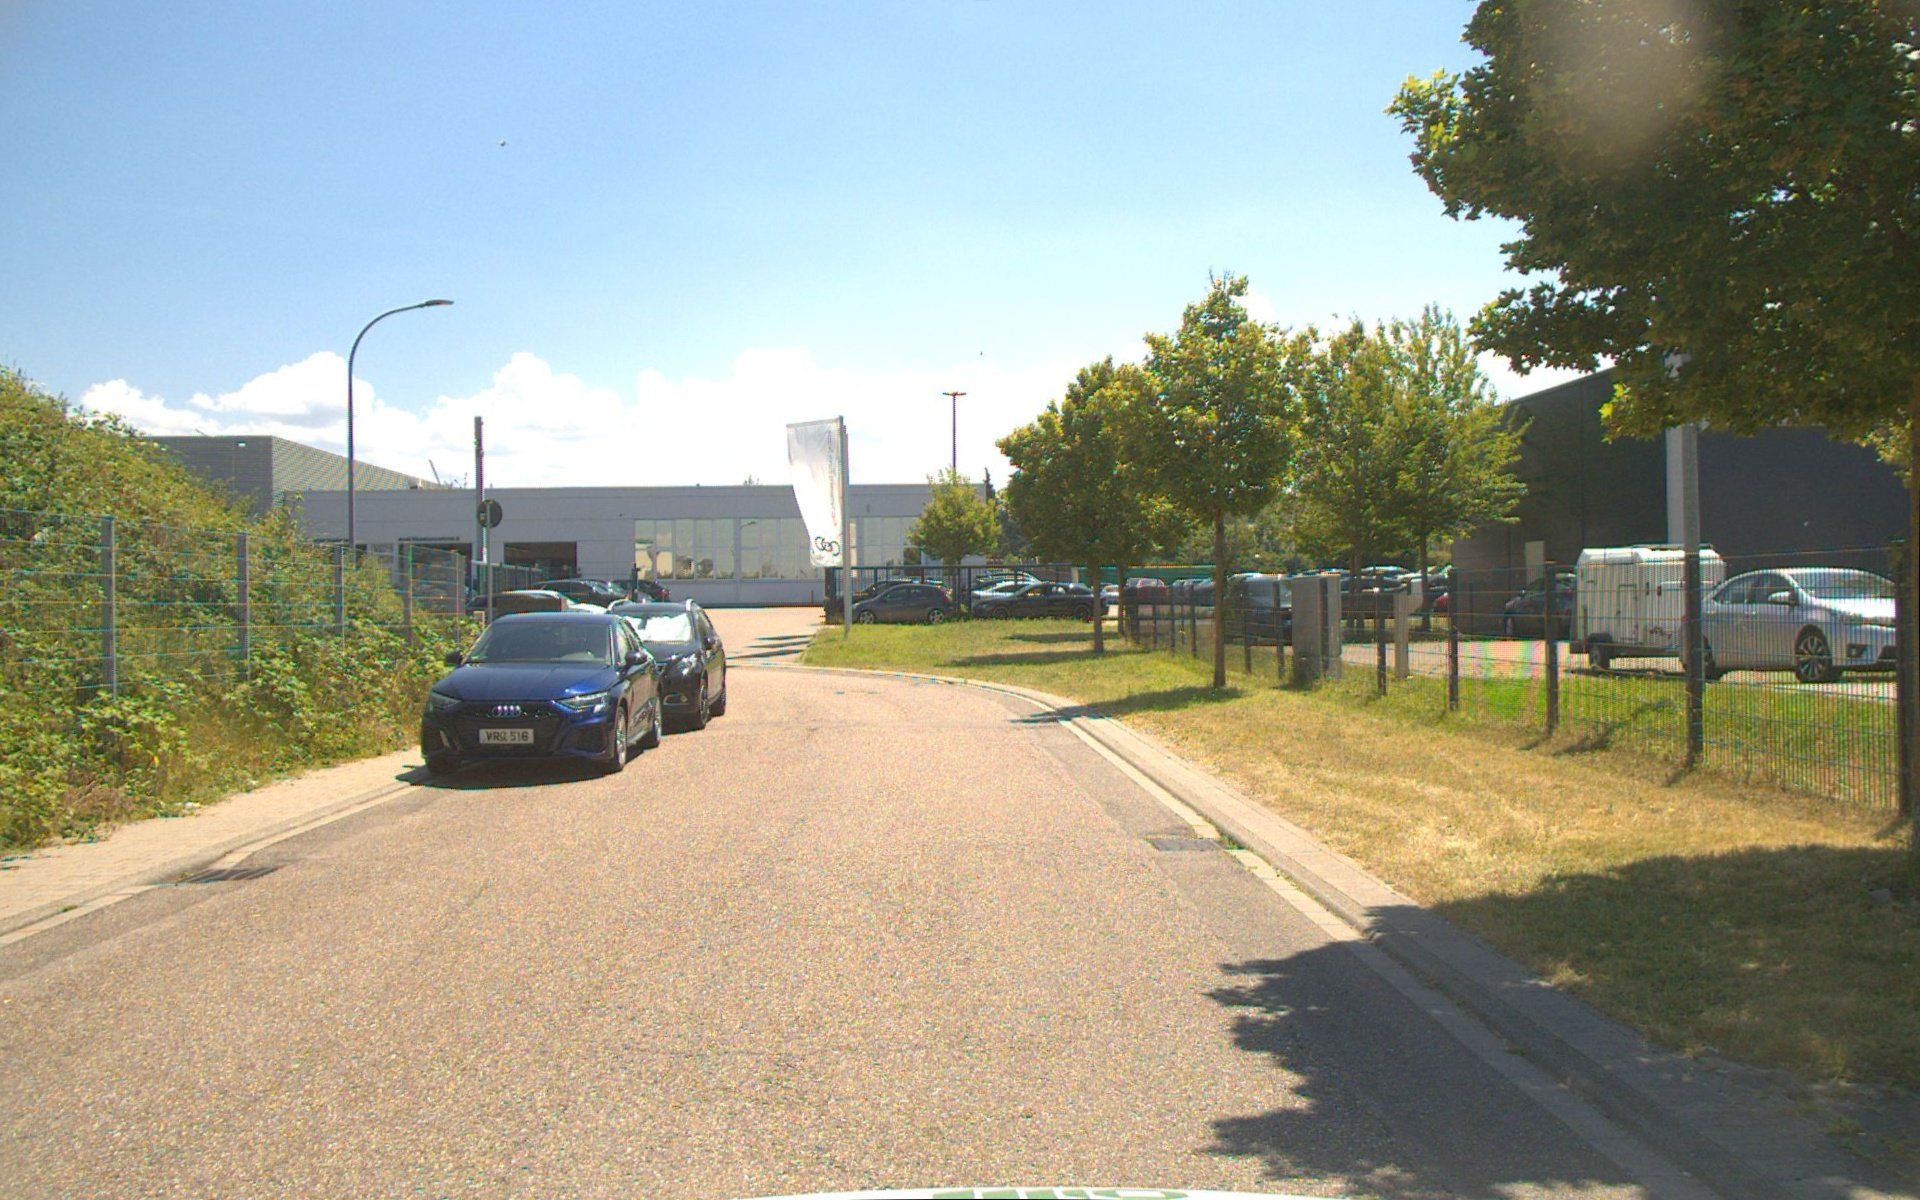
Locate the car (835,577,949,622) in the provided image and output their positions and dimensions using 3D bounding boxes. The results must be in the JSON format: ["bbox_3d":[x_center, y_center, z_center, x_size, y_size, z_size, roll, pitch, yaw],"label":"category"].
[{"bbox_3d":[-2.410,-0.004,58.449,3.908,1.423,1.998,-1,-2,-4],"label":"car"}]

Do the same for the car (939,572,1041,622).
[{"bbox_3d":[1.185,-0.111,66.666,3.908,1.859,1.998,-1,-2,-4],"label":"car"}]

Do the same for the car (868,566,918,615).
[{"bbox_3d":[-2.811,-0.362,68.494,1.954,1.859,3.996,-1,-2,-4],"label":"car"}]

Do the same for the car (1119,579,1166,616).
[{"bbox_3d":[10.003,-0.129,90.957,1.953,1.859,3.998,-1,-2,-2],"label":"car"}]

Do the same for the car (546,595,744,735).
[{"bbox_3d":[-3.934,0.755,21.357,1.797,1.573,4.263,-2,0,-1],"label":"car"}]

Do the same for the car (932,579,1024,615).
[{"bbox_3d":[0.758,-0.109,72.303,3.908,1.423,1.998,-1,-2,-4],"label":"car"}]

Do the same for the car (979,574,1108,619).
[{"bbox_3d":[2.922,-0.114,58.506,4.350,1.423,1.998,-1,-2,-4],"label":"car"}]

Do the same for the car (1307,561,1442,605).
[{"bbox_3d":[15.079,-0.615,60.310,4.350,1.423,1.998,-1,-2,-4],"label":"car"}]

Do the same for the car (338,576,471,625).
[{"bbox_3d":[-20.848,0.032,62.234,4.350,1.655,1.998,-1,-2,-4],"label":"car"}]

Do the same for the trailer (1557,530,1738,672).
[{"bbox_3d":[10.744,-0.052,26.052,1.462,2.041,3.264,-2,2,0],"label":"trailer"}]

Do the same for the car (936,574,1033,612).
[{"bbox_3d":[0.991,-0.295,68.983,3.908,1.423,1.998,-1,-2,-4],"label":"car"}]

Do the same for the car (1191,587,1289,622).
[{"bbox_3d":[12.387,0.213,73.370,3.908,1.423,1.998,-1,-2,-4],"label":"car"}]

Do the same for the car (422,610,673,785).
[{"bbox_3d":[-3.903,0.851,16.298,1.623,1.442,4.142,-2,0,-3],"label":"car"}]

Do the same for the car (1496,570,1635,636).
[{"bbox_3d":[14.106,0.043,38.731,1.701,1.431,3.694,-2,1,-4],"label":"car"}]

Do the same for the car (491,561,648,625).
[{"bbox_3d":[-14.092,-0.265,59.899,5.211,2.134,1.999,-1,0,-3],"label":"car"}]

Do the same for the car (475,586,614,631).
[{"bbox_3d":[-14.321,0.312,57.189,4.350,1.423,1.998,-1,-2,-4],"label":"car"}]

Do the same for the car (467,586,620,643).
[{"bbox_3d":[-13.098,0.468,52.226,4.350,1.655,1.998,-1,-2,-4],"label":"car"}]

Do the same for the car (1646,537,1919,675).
[{"bbox_3d":[10.814,0.148,21.220,1.844,1.549,4.463,-2,-3,-5],"label":"car"}]

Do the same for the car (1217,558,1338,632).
[{"bbox_3d":[7.147,-0.112,37.623,1.702,1.549,3.892,-1,0,-5],"label":"car"}]

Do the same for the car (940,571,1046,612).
[{"bbox_3d":[1.247,-0.311,63.371,3.908,1.423,1.998,-1,-2,-4],"label":"car"}]

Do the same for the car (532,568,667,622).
[{"bbox_3d":[-13.964,-0.197,64.293,4.786,1.956,1.999,-1,0,-3],"label":"car"}]

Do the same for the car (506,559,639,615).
[{"bbox_3d":[-14.493,-0.501,61.985,4.495,1.956,1.999,-1,0,-3],"label":"car"}]

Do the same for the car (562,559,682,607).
[{"bbox_3d":[-14.616,-0.733,71.642,4.786,1.956,1.999,-1,0,-3],"label":"car"}]
